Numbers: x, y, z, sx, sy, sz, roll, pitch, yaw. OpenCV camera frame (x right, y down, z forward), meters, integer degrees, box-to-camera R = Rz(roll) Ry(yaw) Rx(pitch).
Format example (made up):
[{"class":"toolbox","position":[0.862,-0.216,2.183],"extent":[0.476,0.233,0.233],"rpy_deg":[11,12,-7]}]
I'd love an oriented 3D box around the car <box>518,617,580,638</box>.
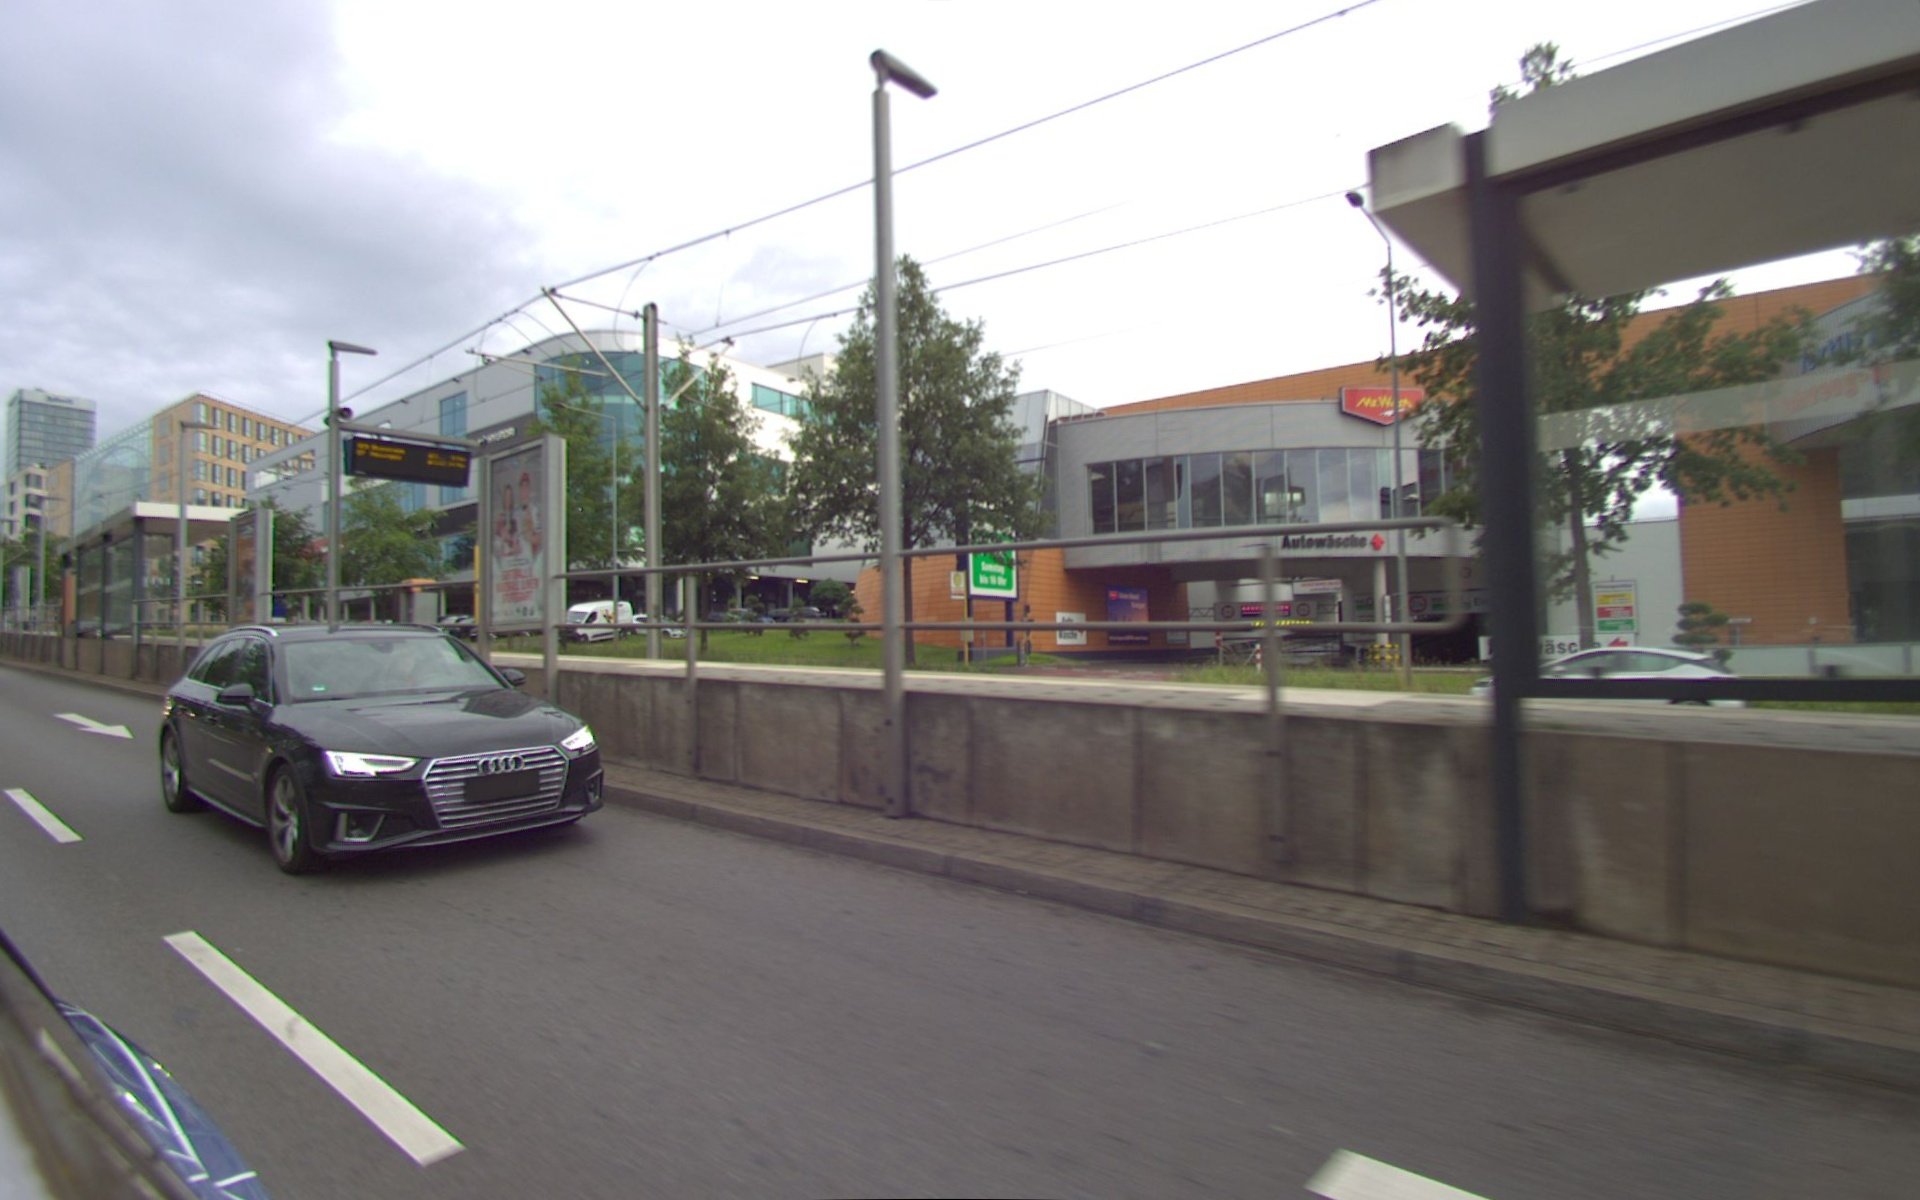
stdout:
[{"class":"car","position":[-30.675,2.075,75.655],"extent":[3.946,1.480,1.770],"rpy_deg":[-1,-1,2]}]

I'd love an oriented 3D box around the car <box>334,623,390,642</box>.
[{"class":"car","position":[-50.575,2.709,85.645],"extent":[1.812,1.502,3.814],"rpy_deg":[-1,-1,22]}]

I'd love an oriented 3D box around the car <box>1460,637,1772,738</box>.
[{"class":"car","position":[12.144,1.522,18.909],"extent":[4.702,1.529,1.974],"rpy_deg":[-1,0,39]}]

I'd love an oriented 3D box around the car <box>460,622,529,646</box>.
[{"class":"car","position":[-32.003,2.329,69.639],"extent":[1.891,1.519,3.956],"rpy_deg":[-1,0,32]}]

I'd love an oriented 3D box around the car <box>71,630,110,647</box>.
[{"class":"car","position":[-77.908,3.456,90.658],"extent":[4.871,1.399,1.973],"rpy_deg":[-1,0,41]}]

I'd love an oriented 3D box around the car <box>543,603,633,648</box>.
[{"class":"car","position":[-23.583,1.576,64.327],"extent":[2.265,2.648,5.442],"rpy_deg":[-1,0,23]}]

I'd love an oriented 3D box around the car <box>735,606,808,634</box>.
[{"class":"car","position":[-14.104,1.467,76.089],"extent":[2.273,1.940,5.420],"rpy_deg":[-1,0,34]}]

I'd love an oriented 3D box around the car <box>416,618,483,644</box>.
[{"class":"car","position":[-37.726,2.268,74.837],"extent":[1.917,1.674,3.955],"rpy_deg":[-2,1,34]}]

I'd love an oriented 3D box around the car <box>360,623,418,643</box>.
[{"class":"car","position":[-46.563,2.664,82.566],"extent":[1.812,1.502,3.814],"rpy_deg":[-1,-1,22]}]

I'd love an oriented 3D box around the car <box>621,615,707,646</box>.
[{"class":"car","position":[-20.189,2.042,69.294],"extent":[2.273,1.940,5.420],"rpy_deg":[-1,0,34]}]

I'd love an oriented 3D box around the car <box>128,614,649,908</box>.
[{"class":"car","position":[-4.357,0.863,7.302],"extent":[4.826,1.445,1.771],"rpy_deg":[-2,-1,41]}]

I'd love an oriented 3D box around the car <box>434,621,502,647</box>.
[{"class":"car","position":[-35.533,2.413,73.201],"extent":[1.917,1.674,3.954],"rpy_deg":[-2,0,34]}]

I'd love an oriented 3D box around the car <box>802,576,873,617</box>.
[{"class":"car","position":[-10.076,-0.280,83.671],"extent":[2.993,3.296,5.420],"rpy_deg":[-1,0,35]}]

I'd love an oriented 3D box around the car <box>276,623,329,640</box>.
[{"class":"car","position":[-61.167,2.881,94.199],"extent":[1.812,1.502,3.814],"rpy_deg":[-1,-1,22]}]

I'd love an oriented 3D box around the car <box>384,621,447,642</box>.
[{"class":"car","position":[-42.431,2.436,78.875],"extent":[1.819,1.502,3.954],"rpy_deg":[-2,-1,34]}]

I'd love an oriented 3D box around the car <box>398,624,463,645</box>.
[{"class":"car","position":[-39.982,2.594,76.476],"extent":[1.819,1.502,3.954],"rpy_deg":[-2,-1,34]}]
